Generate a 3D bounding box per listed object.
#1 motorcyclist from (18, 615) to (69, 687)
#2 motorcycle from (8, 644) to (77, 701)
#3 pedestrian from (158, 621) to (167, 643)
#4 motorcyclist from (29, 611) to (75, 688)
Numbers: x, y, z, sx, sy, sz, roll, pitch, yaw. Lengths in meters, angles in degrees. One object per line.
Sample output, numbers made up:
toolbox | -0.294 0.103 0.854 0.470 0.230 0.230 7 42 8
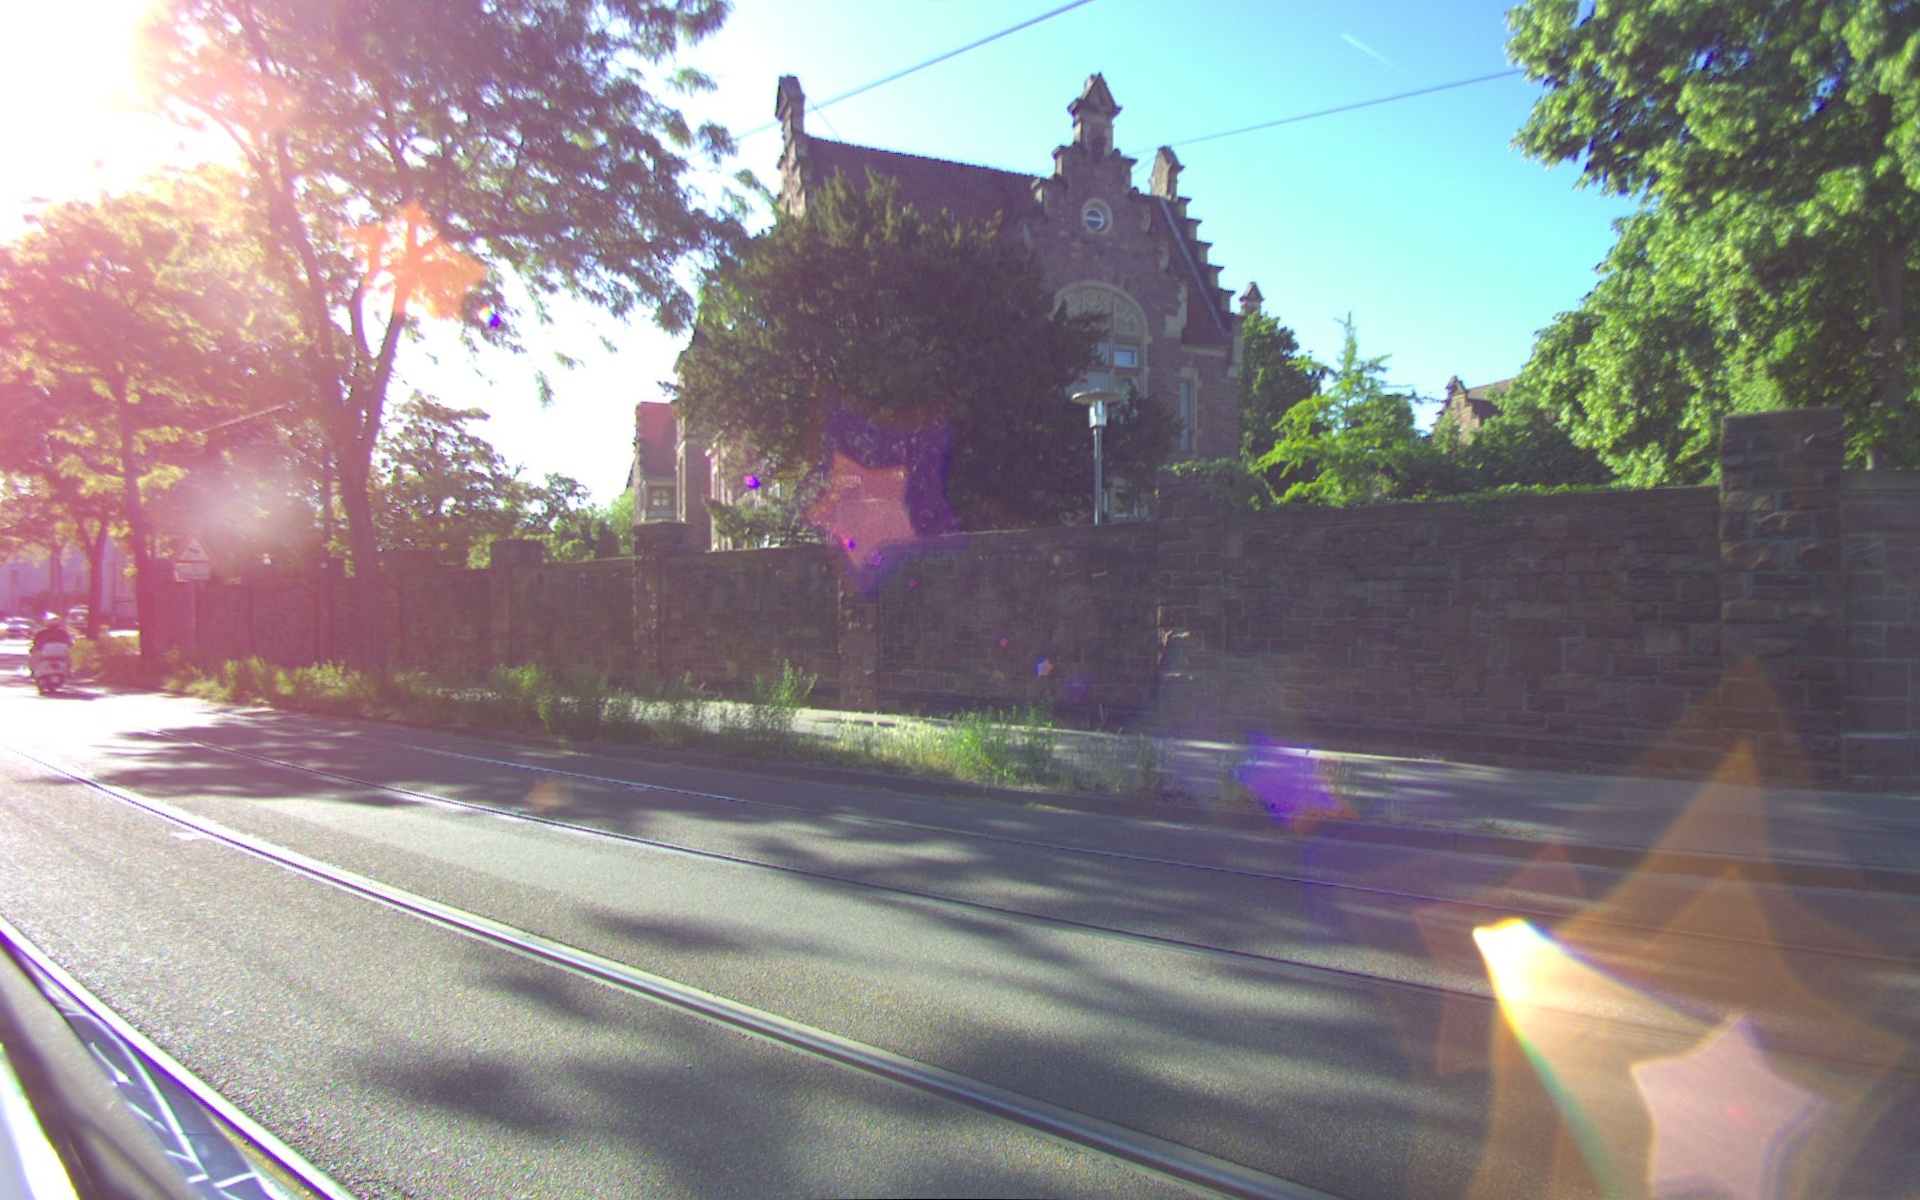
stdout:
motorcyclist | -18.817 1.033 20.778 0.445 1.451 0.678 -1 -1 31
motorcycle | -18.863 1.465 20.801 1.851 1.101 0.604 -1 -1 33
pedestrian | -89.908 3.595 114.126 0.756 2.385 0.928 -1 0 -37
motorcyclist | -18.398 0.997 20.510 0.464 1.527 0.602 -1 -1 32
